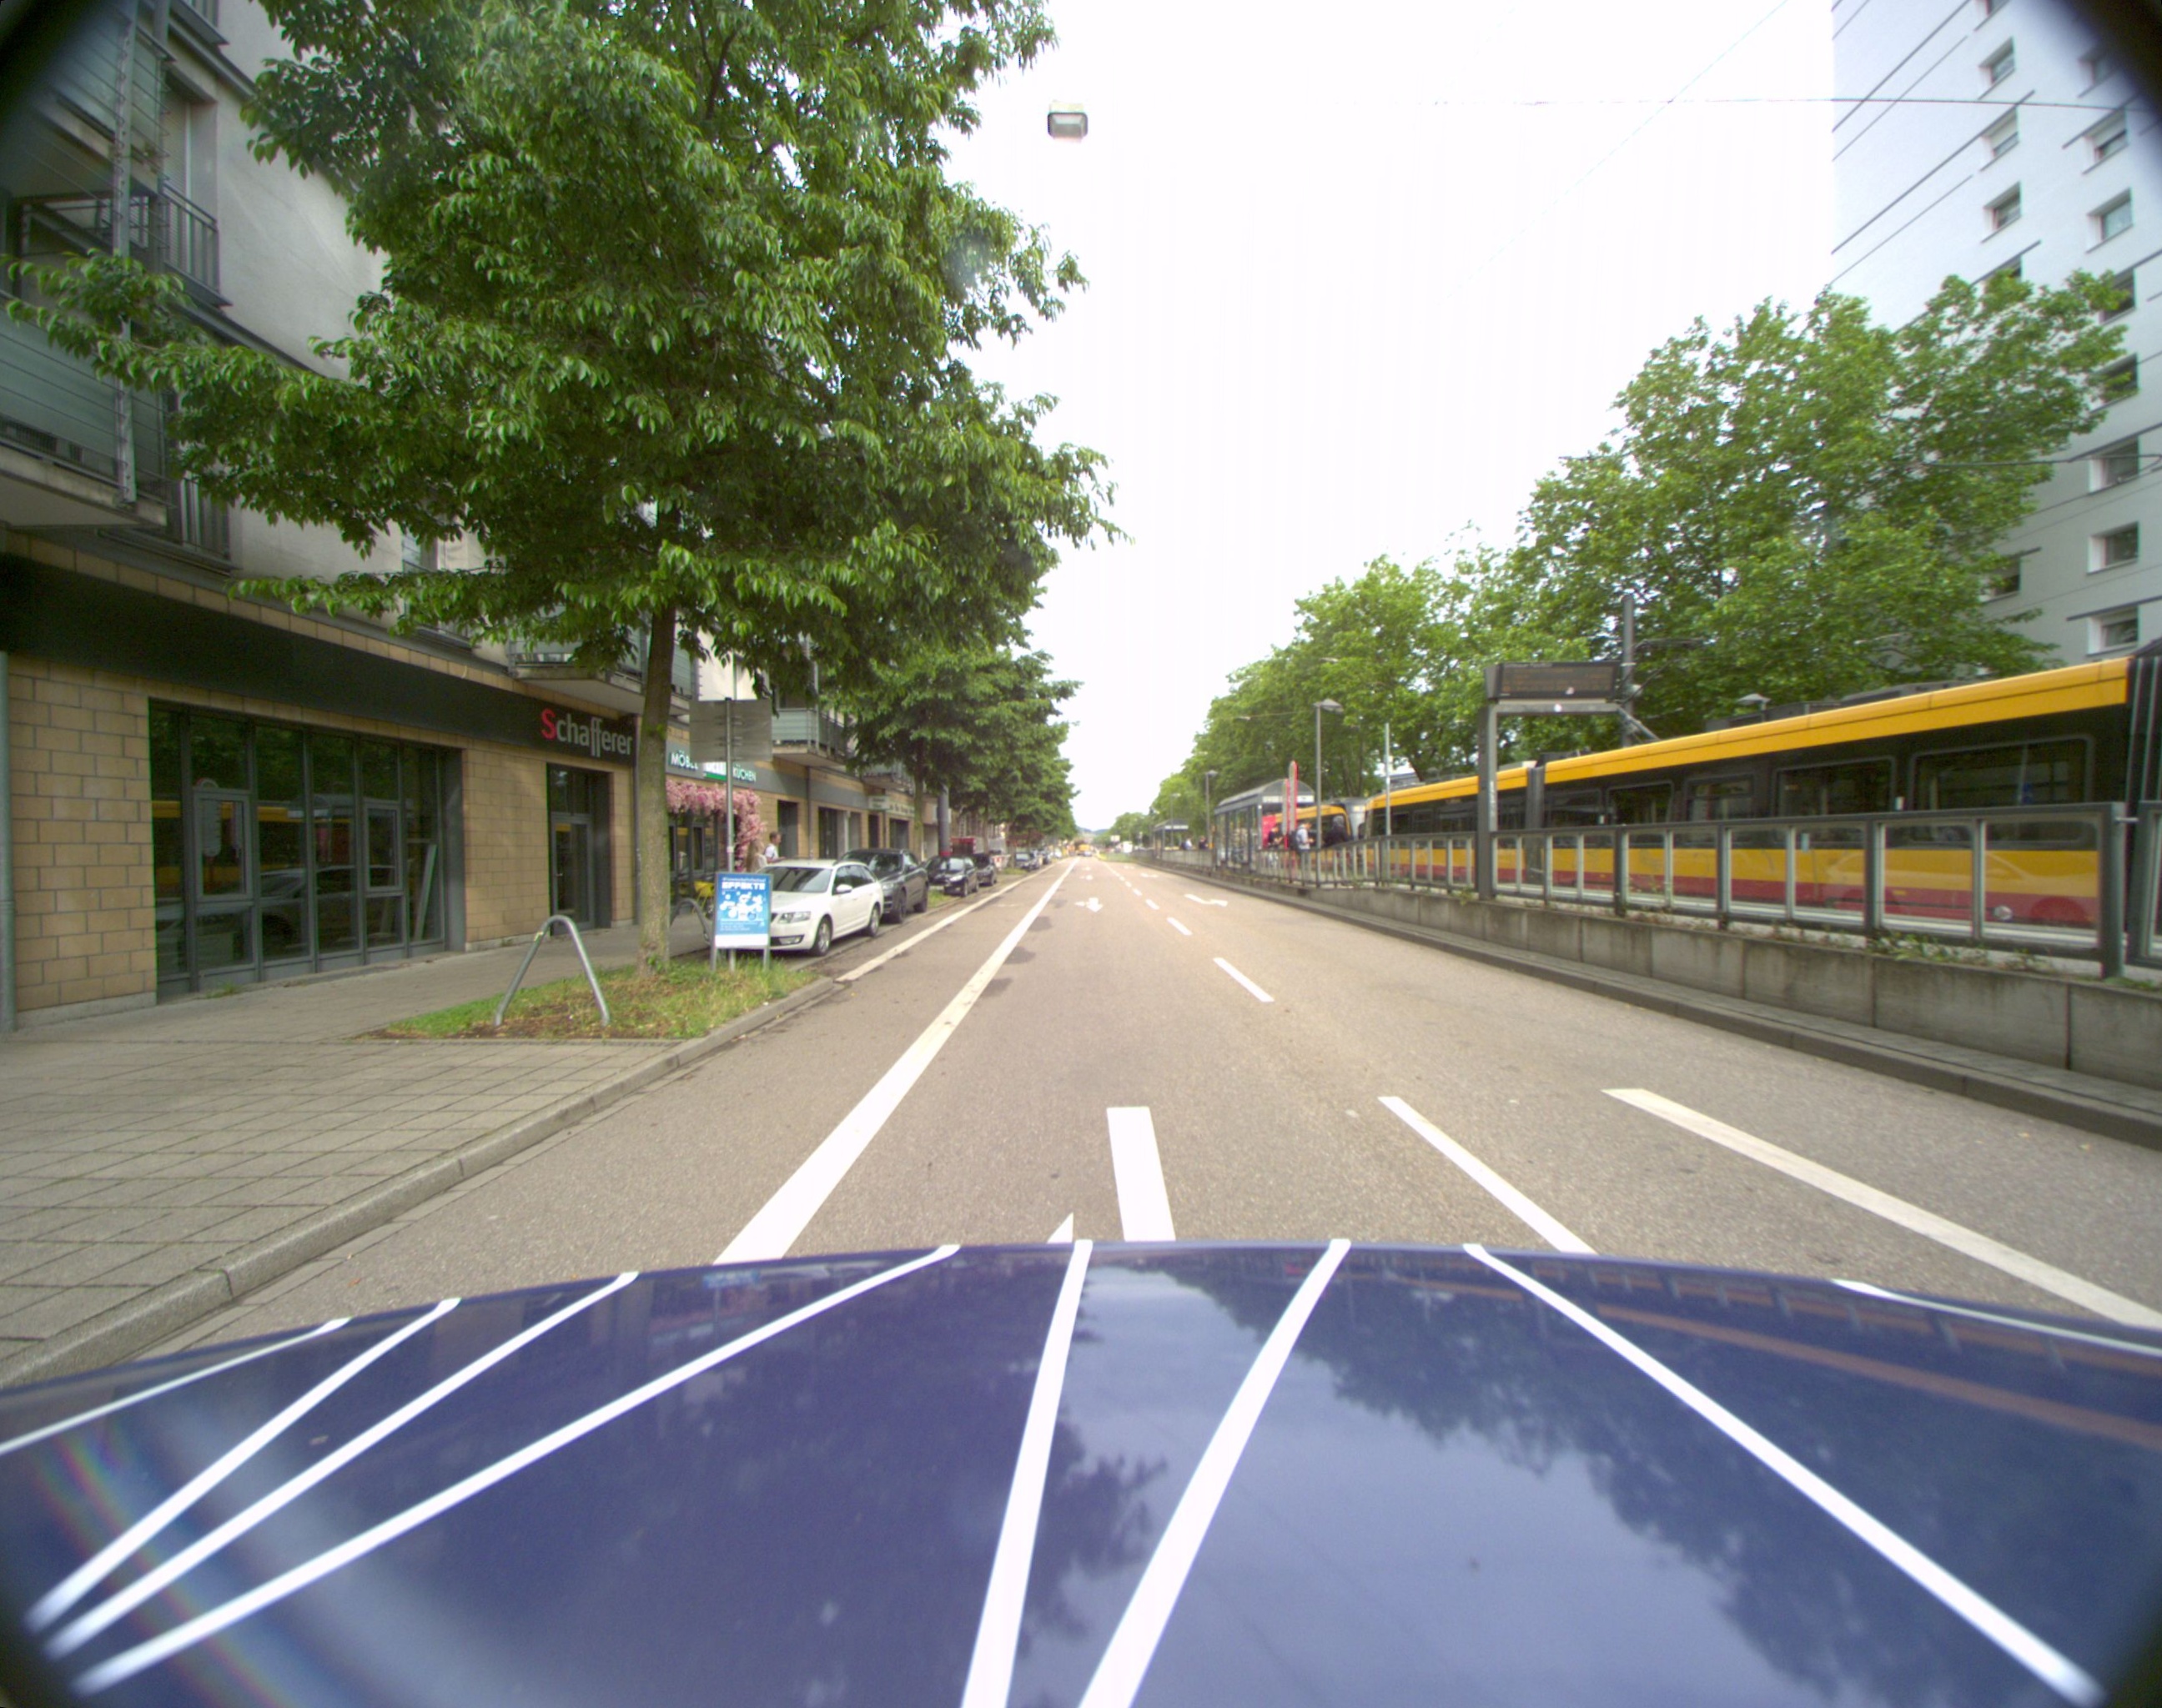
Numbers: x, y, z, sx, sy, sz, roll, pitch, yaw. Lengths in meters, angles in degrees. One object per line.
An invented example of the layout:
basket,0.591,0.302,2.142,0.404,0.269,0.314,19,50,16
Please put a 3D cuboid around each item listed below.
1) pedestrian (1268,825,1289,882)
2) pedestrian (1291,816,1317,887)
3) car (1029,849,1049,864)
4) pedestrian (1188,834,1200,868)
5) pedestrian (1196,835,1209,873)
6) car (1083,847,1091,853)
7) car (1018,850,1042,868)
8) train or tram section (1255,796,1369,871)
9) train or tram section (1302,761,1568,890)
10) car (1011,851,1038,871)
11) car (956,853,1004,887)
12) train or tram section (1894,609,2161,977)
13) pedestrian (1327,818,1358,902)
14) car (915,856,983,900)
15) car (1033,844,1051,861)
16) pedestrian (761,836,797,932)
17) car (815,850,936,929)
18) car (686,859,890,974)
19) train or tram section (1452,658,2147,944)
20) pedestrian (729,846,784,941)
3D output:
pedestrian,6.304,-0.023,24.205,0.474,1.794,0.606,-2,1,26
pedestrian,5.746,-0.060,19.554,0.475,1.794,0.605,-2,1,5
car,-3.979,0.216,72.457,1.612,1.393,3.667,2,1,1
pedestrian,6.131,-0.173,41.346,0.530,1.794,0.606,-2,1,14
pedestrian,5.839,0.005,36.529,0.530,1.794,0.606,-2,1,14
car,1.372,-0.902,165.940,1.716,1.379,4.099,-2,1,1
car,-4.134,0.370,62.170,1.612,1.393,3.667,2,1,1
train or tram section,13.153,-1.102,44.587,3.338,3.731,11.042,-2,1,1
train or tram section,12.963,-0.942,30.885,3.338,3.731,16.247,-2,1,1
car,-4.143,0.486,56.230,1.612,1.393,3.667,2,1,1
car,-4.565,0.688,34.742,1.612,1.393,3.667,2,1,1
train or tram section,12.586,-0.612,2.654,3.338,3.731,15.201,-2,1,1
pedestrian,5.698,0.123,16.586,0.521,1.794,0.605,-2,1,13
car,-4.646,0.798,27.281,1.612,1.369,4.167,2,1,1
car,-3.973,-0.134,78.227,1.612,1.674,3.806,2,1,1
pedestrian,-6.103,0.583,15.335,0.600,1.873,0.655,-2,1,-24
car,-4.724,0.744,18.009,1.738,1.601,3.798,2,1,1
car,-4.727,0.903,13.007,1.738,1.512,4.308,2,1,1
train or tram section,12.780,-0.775,16.537,3.338,3.731,12.547,-2,1,1
pedestrian,-6.049,0.708,14.184,0.616,1.707,0.740,1,2,41
